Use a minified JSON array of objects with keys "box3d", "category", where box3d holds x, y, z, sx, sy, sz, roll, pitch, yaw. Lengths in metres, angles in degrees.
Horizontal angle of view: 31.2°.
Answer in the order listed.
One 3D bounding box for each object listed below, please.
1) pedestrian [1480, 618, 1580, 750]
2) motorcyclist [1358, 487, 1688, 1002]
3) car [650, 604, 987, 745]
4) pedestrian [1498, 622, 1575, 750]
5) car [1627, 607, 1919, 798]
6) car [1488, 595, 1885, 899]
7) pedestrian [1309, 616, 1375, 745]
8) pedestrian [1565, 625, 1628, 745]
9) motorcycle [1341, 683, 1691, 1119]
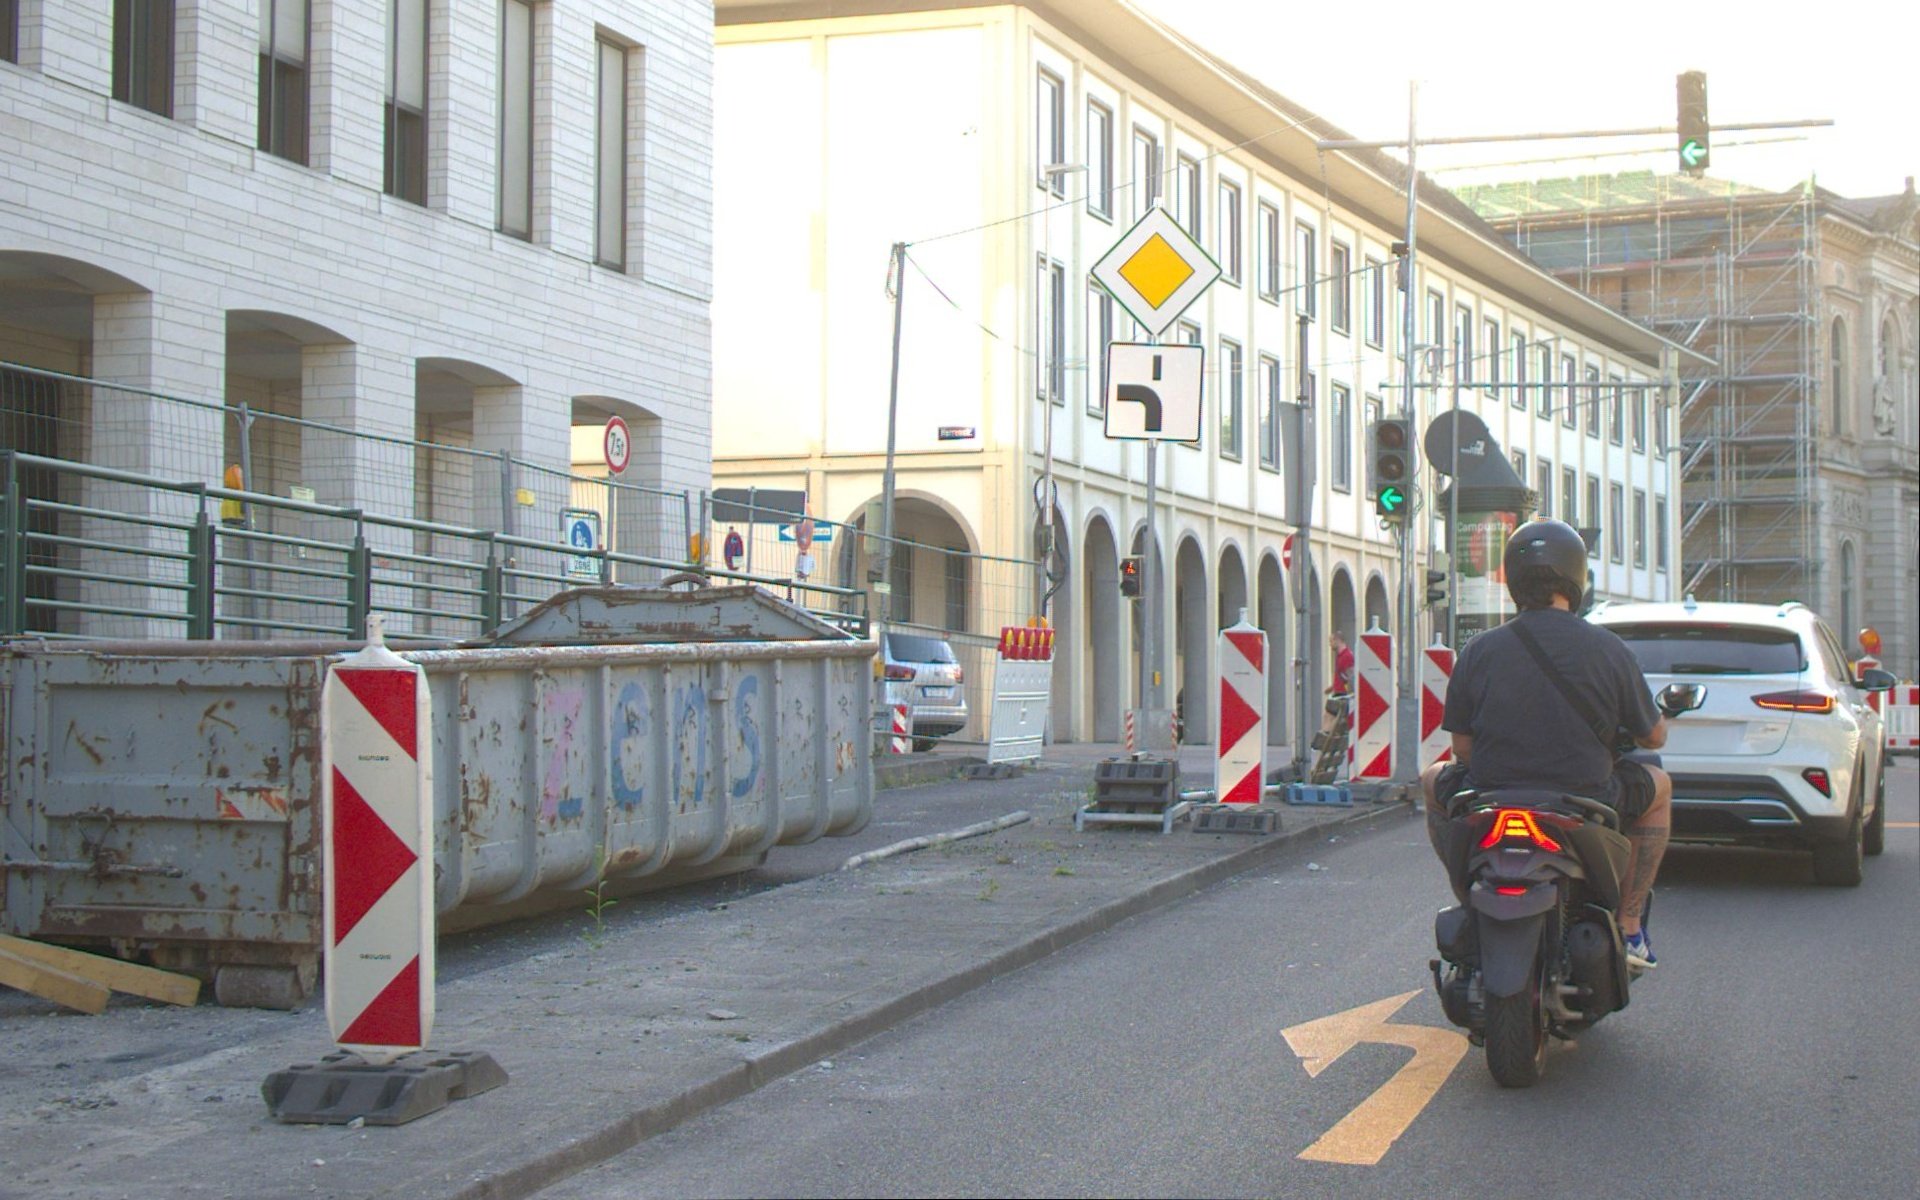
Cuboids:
[{"box3d":[7.926,1.165,47.759,1.244,1.796,0.716,-1,0,19],"category":"pedestrian"},{"box3d":[1.840,0.438,11.098,0.954,1.554,1.238,0,0,14],"category":"motorcyclist"},{"box3d":[-1.857,0.927,44.590,4.158,1.715,1.805,0,1,36],"category":"car"},{"box3d":[8.128,1.204,48.463,0.939,1.771,0.710,-1,0,19],"category":"pedestrian"},{"box3d":[7.245,0.885,29.896,1.773,1.545,4.107,0,-2,-5],"category":"car"},{"box3d":[4.139,0.730,19.120,1.860,1.467,3.997,1,0,16],"category":"car"},{"box3d":[5.412,1.133,48.702,0.773,1.796,0.710,-1,0,19],"category":"pedestrian"},{"box3d":[9.271,1.243,50.102,0.738,1.710,0.621,-2,-2,22],"category":"pedestrian"},{"box3d":[1.856,0.887,11.119,0.906,1.179,2.577,0,0,14],"category":"motorcycle"}]
